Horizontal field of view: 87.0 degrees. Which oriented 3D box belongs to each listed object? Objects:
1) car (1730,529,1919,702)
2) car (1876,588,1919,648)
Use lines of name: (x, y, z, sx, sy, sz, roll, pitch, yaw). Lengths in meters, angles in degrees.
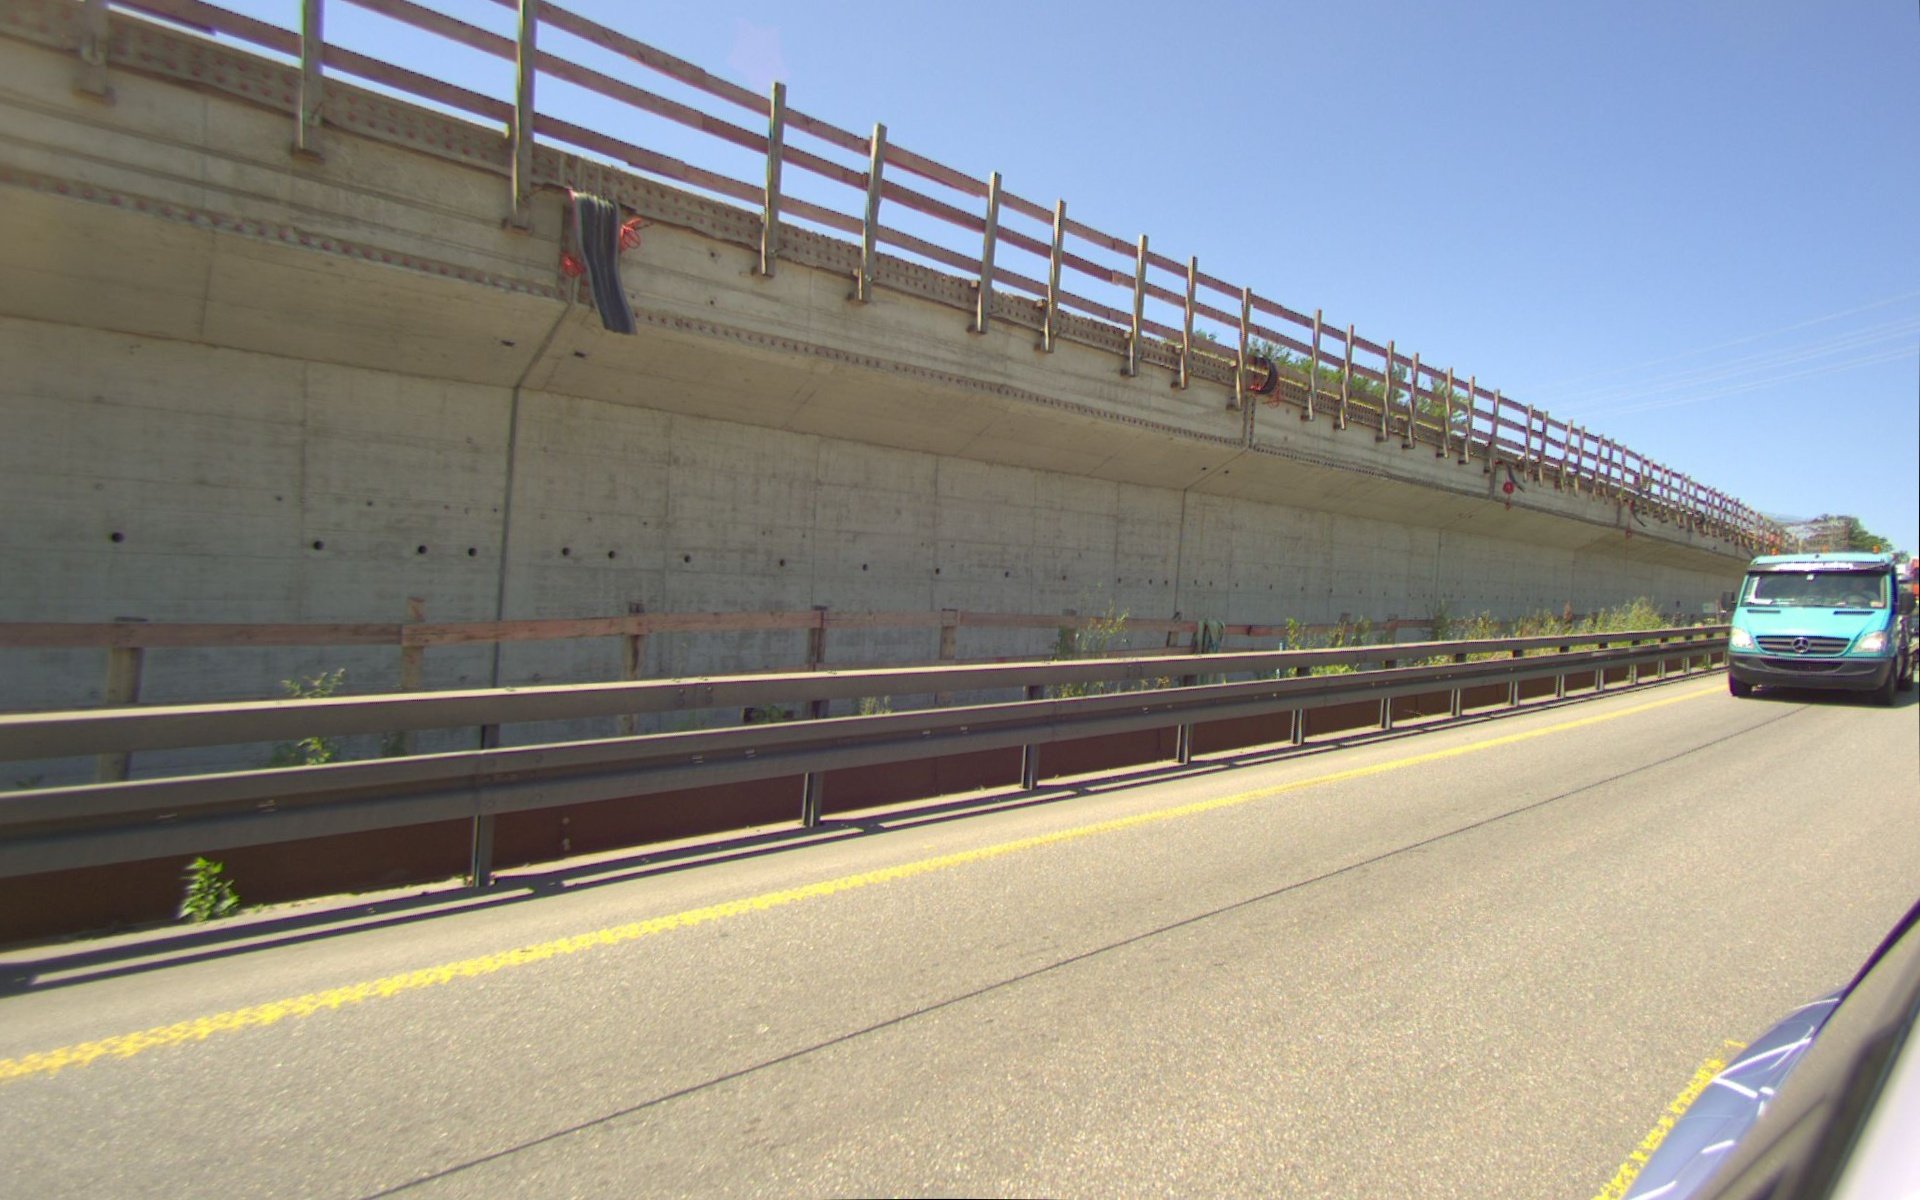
car: (15.127, 0.193, 17.163, 7.085, 2.410, 1.966, 0, 1, -42)
car: (28.412, 0.496, 29.769, 3.933, 1.681, 1.857, -1, 0, -43)
